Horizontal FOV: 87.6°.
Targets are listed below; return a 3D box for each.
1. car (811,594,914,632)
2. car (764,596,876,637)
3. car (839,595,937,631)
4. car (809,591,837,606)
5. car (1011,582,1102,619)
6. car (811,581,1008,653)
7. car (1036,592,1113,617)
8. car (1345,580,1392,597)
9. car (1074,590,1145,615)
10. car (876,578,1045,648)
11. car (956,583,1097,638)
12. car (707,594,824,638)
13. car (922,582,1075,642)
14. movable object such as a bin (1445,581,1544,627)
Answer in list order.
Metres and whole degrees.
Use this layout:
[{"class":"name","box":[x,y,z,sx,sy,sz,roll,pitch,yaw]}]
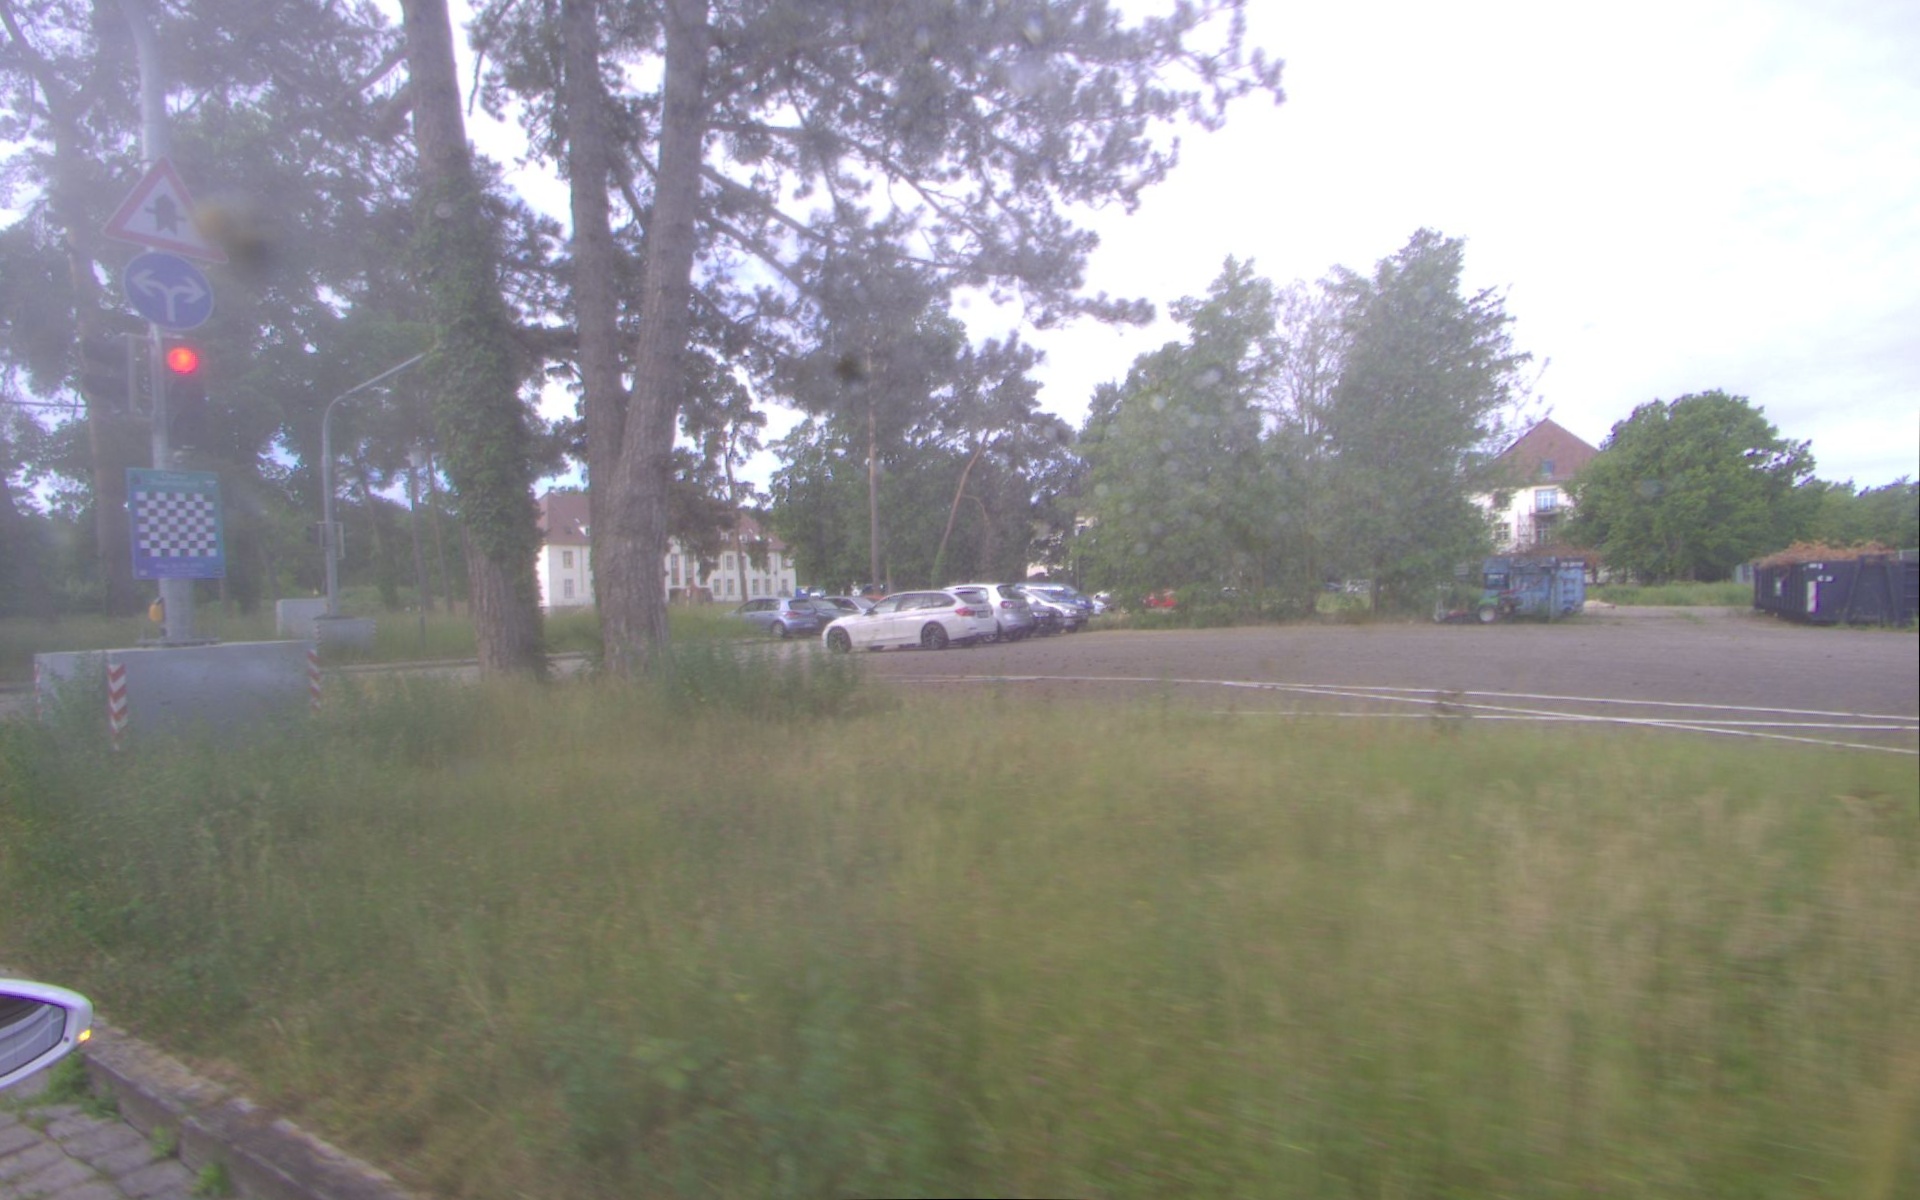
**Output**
[{"class":"car","box":[-4.029,0.537,41.220,4.189,1.487,1.727,0,1,38]},{"class":"car","box":[-5.465,0.618,38.868,4.184,1.487,1.729,-1,1,33]},{"class":"car","box":[-3.160,0.566,43.474,4.189,1.487,1.727,0,1,38]},{"class":"car","box":[-18.911,-0.208,138.423,1.899,1.930,4.056,-1,-1,29]},{"class":"car","box":[5.475,0.038,57.007,4.724,2.053,2.130,0,1,33]},{"class":"car","box":[-1.278,0.450,24.775,4.541,1.505,1.846,-4,-2,29]},{"class":"car","box":[6.754,0.288,59.103,4.184,1.409,1.729,-1,1,34]},{"class":"car","box":[51.226,-1.399,125.521,5.222,1.980,2.079,-1,-1,32]},{"class":"car","box":[9.635,0.150,64.566,4.182,1.542,1.730,-1,1,32]},{"class":"car","box":[-0.009,0.358,27.093,4.181,1.626,1.779,-4,0,29]},{"class":"car","box":[2.107,0.348,32.097,4.186,1.504,1.696,-4,-1,33]},{"class":"car","box":[-7.180,0.566,36.839,4.184,1.529,1.729,-1,1,33]},{"class":"car","box":[1.098,0.374,29.499,4.186,1.504,1.696,-4,-1,33]},{"class":"movable object such as a bin","box":[13.907,0.117,26.126,2.176,1.149,0.960,-1,-1,23]}]
